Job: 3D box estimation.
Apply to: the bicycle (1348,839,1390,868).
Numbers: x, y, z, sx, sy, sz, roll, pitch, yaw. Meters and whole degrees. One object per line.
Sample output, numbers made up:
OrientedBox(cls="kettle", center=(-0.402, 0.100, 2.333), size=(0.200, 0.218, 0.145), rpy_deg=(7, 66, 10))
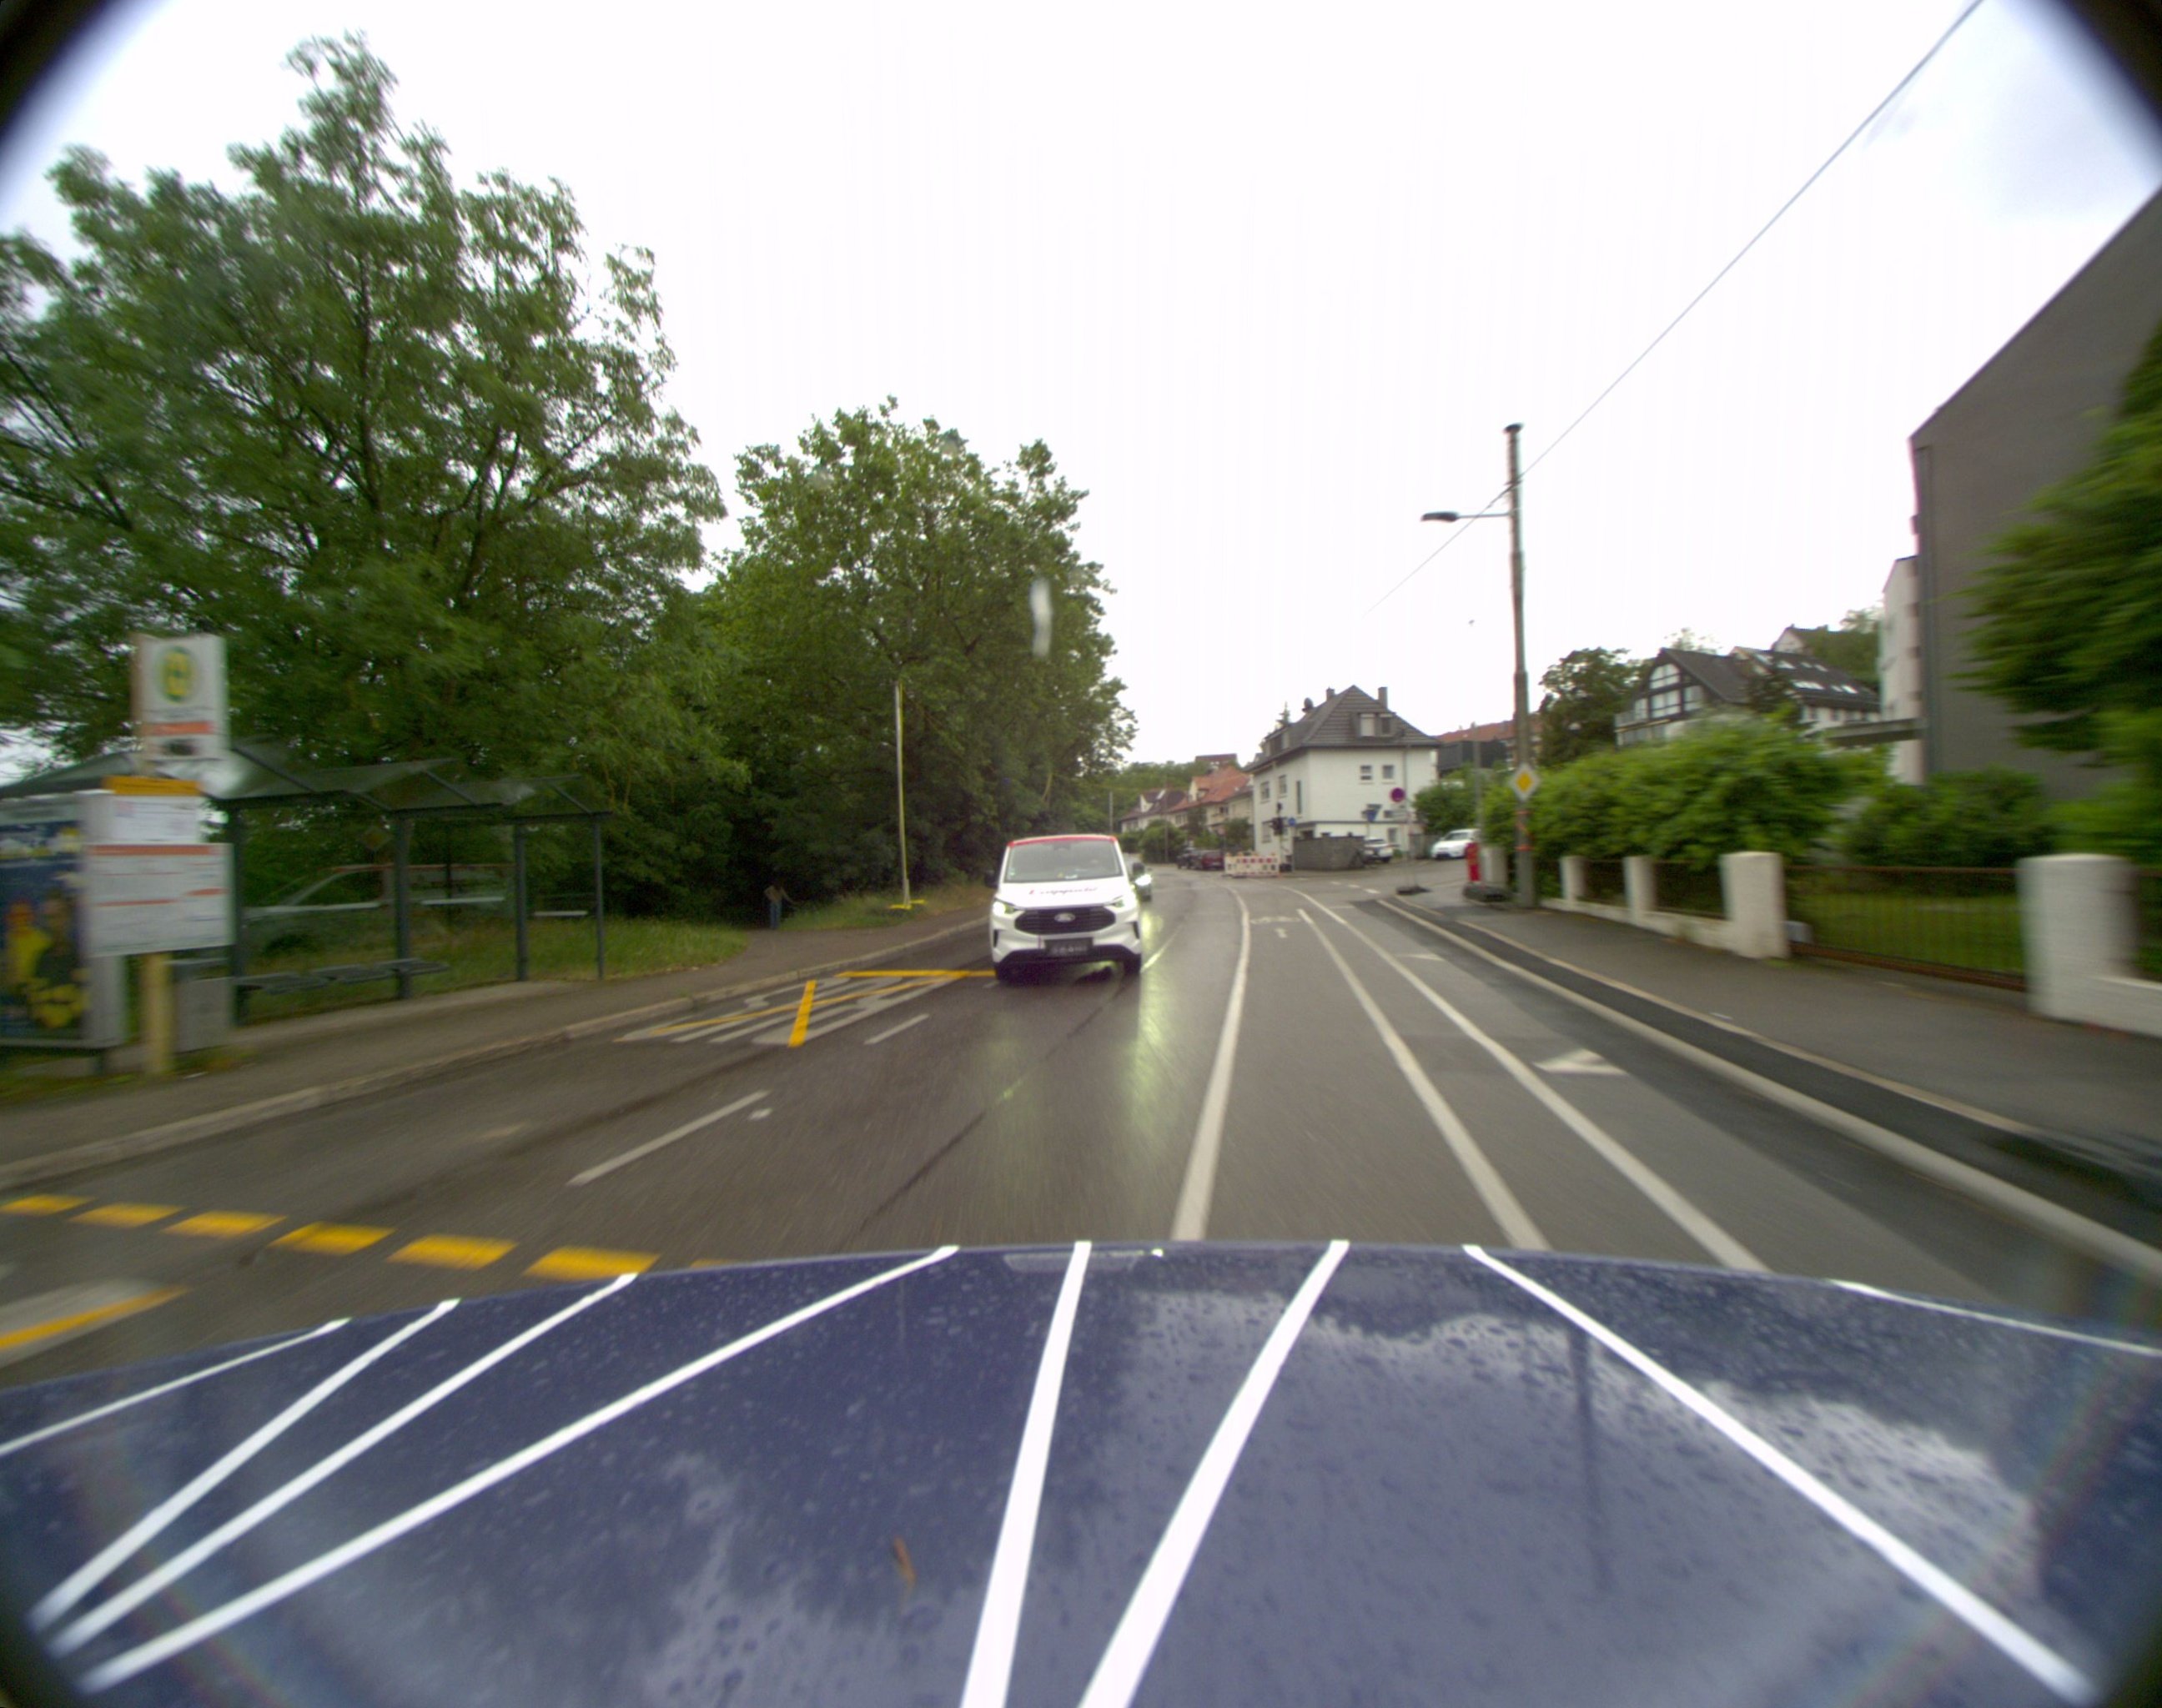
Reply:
OrientedBox(cls="bicycle", center=(14.339, -0.025, 37.849), size=(1.731, 1.304, 0.707), rpy_deg=(-3, 1, 2))

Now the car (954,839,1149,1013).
OrientedBox(cls="car", center=(-0.111, 0.783, 11.233), size=(2.045, 1.883, 5.210), rpy_deg=(-3, 1, 6))

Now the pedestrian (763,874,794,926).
OrientedBox(cls="pedestrian", center=(-9.900, 1.489, 24.916), size=(0.733, 1.595, 0.751), rpy_deg=(-4, 1, -12))

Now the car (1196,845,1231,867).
OrientedBox(cls="car", center=(9.535, 0.189, 54.780), size=(1.897, 1.485, 3.798), rpy_deg=(-2, -1, 1))

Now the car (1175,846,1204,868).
OrientedBox(cls="car", center=(8.509, 0.244, 59.938), size=(1.669, 1.579, 4.007), rpy_deg=(-3, -1, 1))

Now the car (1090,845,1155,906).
OrientedBox(cls="car", center=(1.343, 0.651, 25.982), size=(1.953, 1.796, 3.926), rpy_deg=(-3, 1, 1))

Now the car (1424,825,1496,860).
OrientedBox(cls="car", center=(20.569, -0.616, 41.180), size=(3.565, 1.458, 1.746), rpy_deg=(-7, 2, -31))
